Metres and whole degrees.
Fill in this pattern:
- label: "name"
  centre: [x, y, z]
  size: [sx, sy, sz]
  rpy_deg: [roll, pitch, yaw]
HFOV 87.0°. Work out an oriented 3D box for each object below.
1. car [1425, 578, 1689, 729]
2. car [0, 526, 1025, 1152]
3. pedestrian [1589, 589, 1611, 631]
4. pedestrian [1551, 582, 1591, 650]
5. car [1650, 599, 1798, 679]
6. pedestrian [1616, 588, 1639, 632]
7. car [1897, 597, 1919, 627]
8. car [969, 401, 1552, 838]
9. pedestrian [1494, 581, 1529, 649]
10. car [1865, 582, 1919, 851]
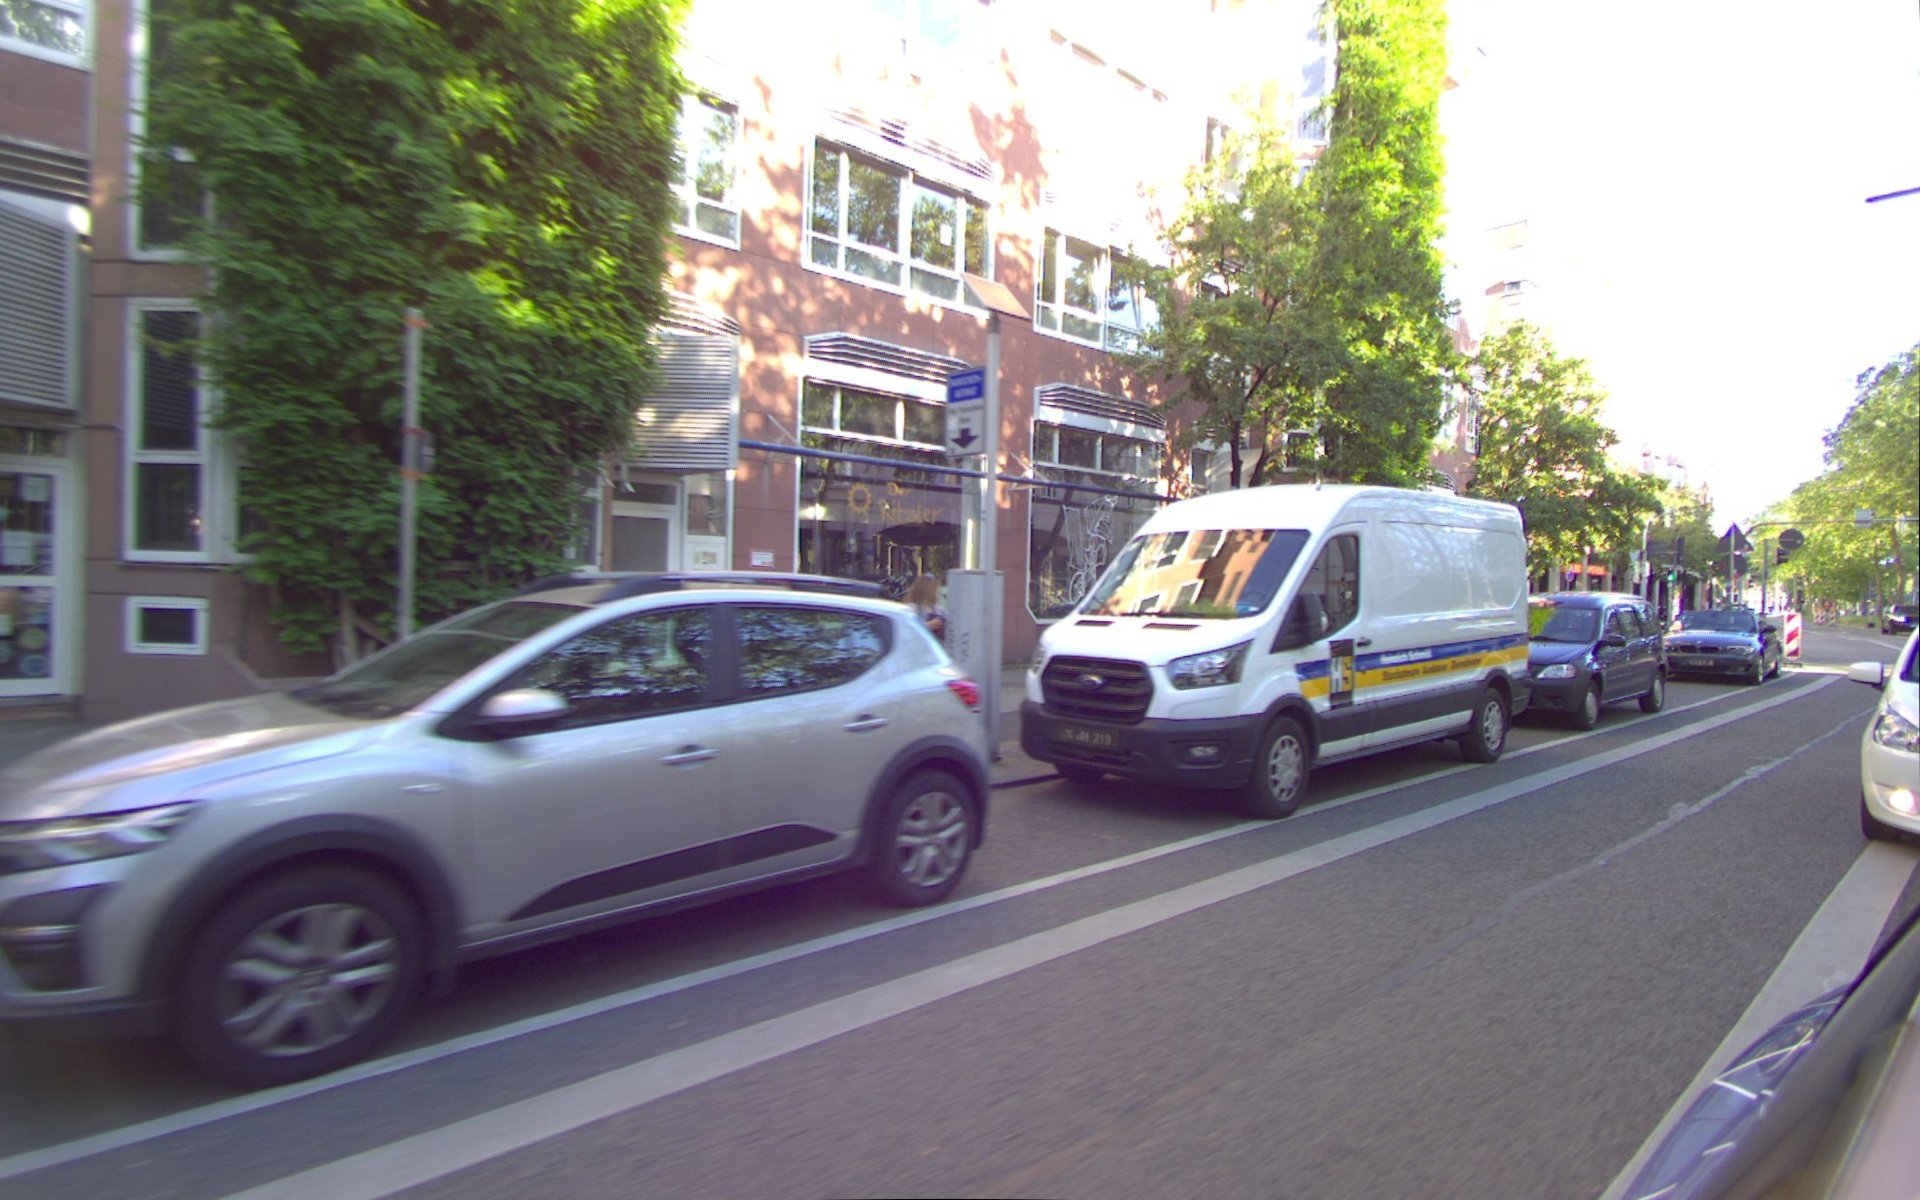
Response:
- label: "car"
  centre: [7.954, 0.569, 13.303]
  size: [4.400, 1.647, 1.806]
  rpy_deg: [0, 1, -43]
- label: "car"
  centre: [-1.733, 0.585, 4.490]
  size: [3.932, 1.598, 1.831]
  rpy_deg: [0, 1, -43]
- label: "pedestrian"
  centre: [25.257, 0.375, 39.928]
  size: [0.677, 1.636, 0.548]
  rpy_deg: [1, 1, 39]
- label: "pedestrian"
  centre: [14.943, 0.378, 24.763]
  size: [0.708, 1.628, 0.640]
  rpy_deg: [0, 1, -43]
- label: "car"
  centre: [14.946, 0.671, 19.722]
  size: [1.804, 1.347, 3.928]
  rpy_deg: [2, 1, 44]
- label: "pedestrian"
  centre: [25.845, 0.379, 39.162]
  size: [0.677, 1.636, 0.548]
  rpy_deg: [1, 1, 39]
- label: "car"
  centre: [52.148, 0.635, 54.635]
  size: [3.933, 1.552, 1.996]
  rpy_deg: [-1, 0, -43]
- label: "car"
  centre: [2.933, 0.087, 8.761]
  size: [5.804, 2.597, 2.118]
  rpy_deg: [0, 1, -42]
- label: "pedestrian"
  centre: [13.514, 0.366, 24.795]
  size: [0.589, 1.628, 0.562]
  rpy_deg: [0, 1, -43]
- label: "car"
  centre: [7.348, 0.674, 6.724]
  size: [1.804, 1.519, 4.133]
  rpy_deg: [2, 1, 44]
